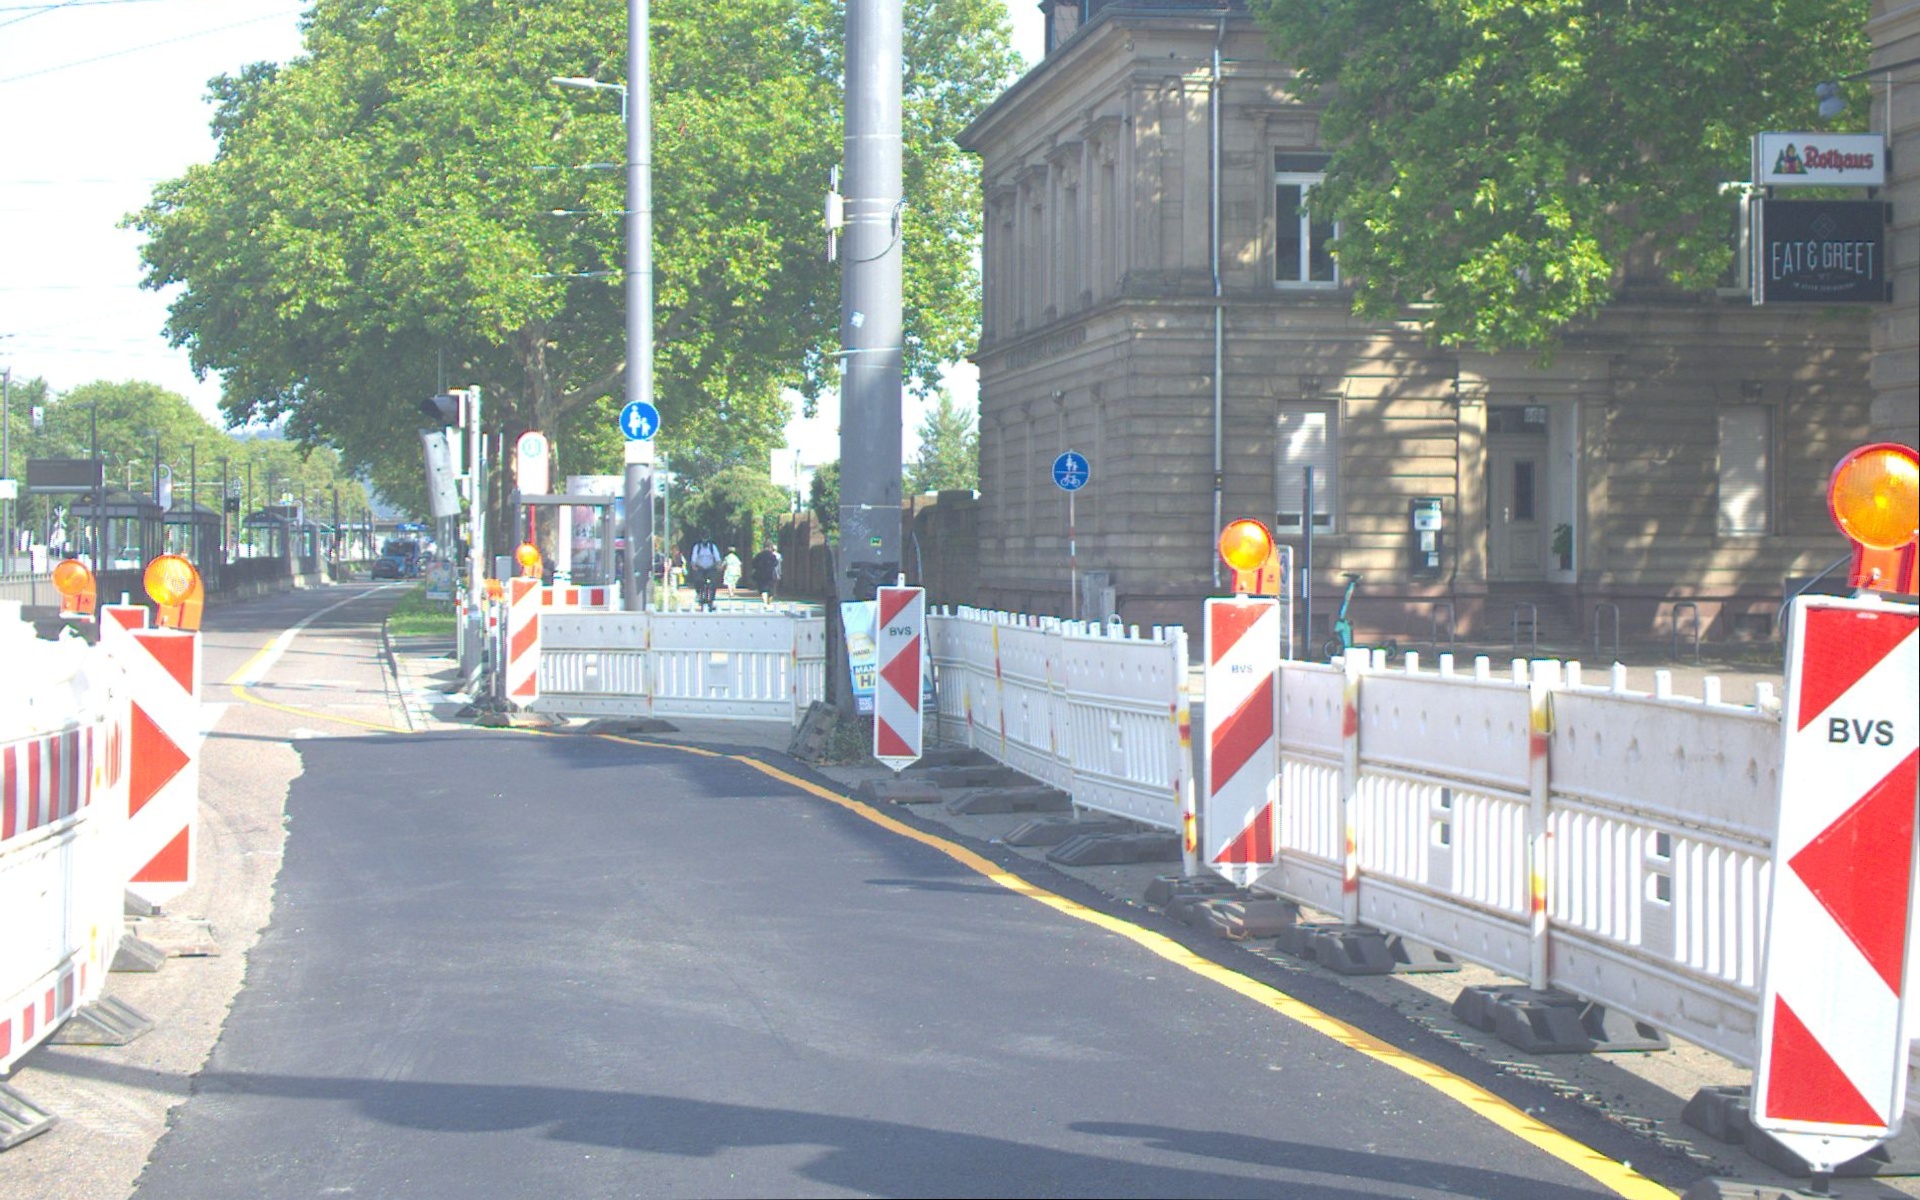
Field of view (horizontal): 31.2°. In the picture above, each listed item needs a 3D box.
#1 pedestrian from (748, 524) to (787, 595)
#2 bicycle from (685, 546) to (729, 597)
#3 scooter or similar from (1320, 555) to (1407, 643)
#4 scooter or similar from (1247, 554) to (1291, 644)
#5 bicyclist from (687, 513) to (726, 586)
[{"bbox_3d":[-4.629,-0.975,82.636,0.819,1.680,1.012,-2,1,-8],"label":"pedestrian"},{"bbox_3d":[-5.369,-0.612,72.943,0.717,1.038,1.903,0,1,-11],"label":"bicycle"},{"bbox_3d":[5.745,-0.021,48.956,1.251,1.205,0.422,-2,3,-33],"label":"scooter or similar"},{"bbox_3d":[4.336,-0.019,48.265,0.421,1.205,1.254,0,3,14],"label":"scooter or similar"},{"bbox_3d":[-5.386,-1.081,72.993,0.717,1.538,0.956,0,1,-11],"label":"bicyclist"}]
